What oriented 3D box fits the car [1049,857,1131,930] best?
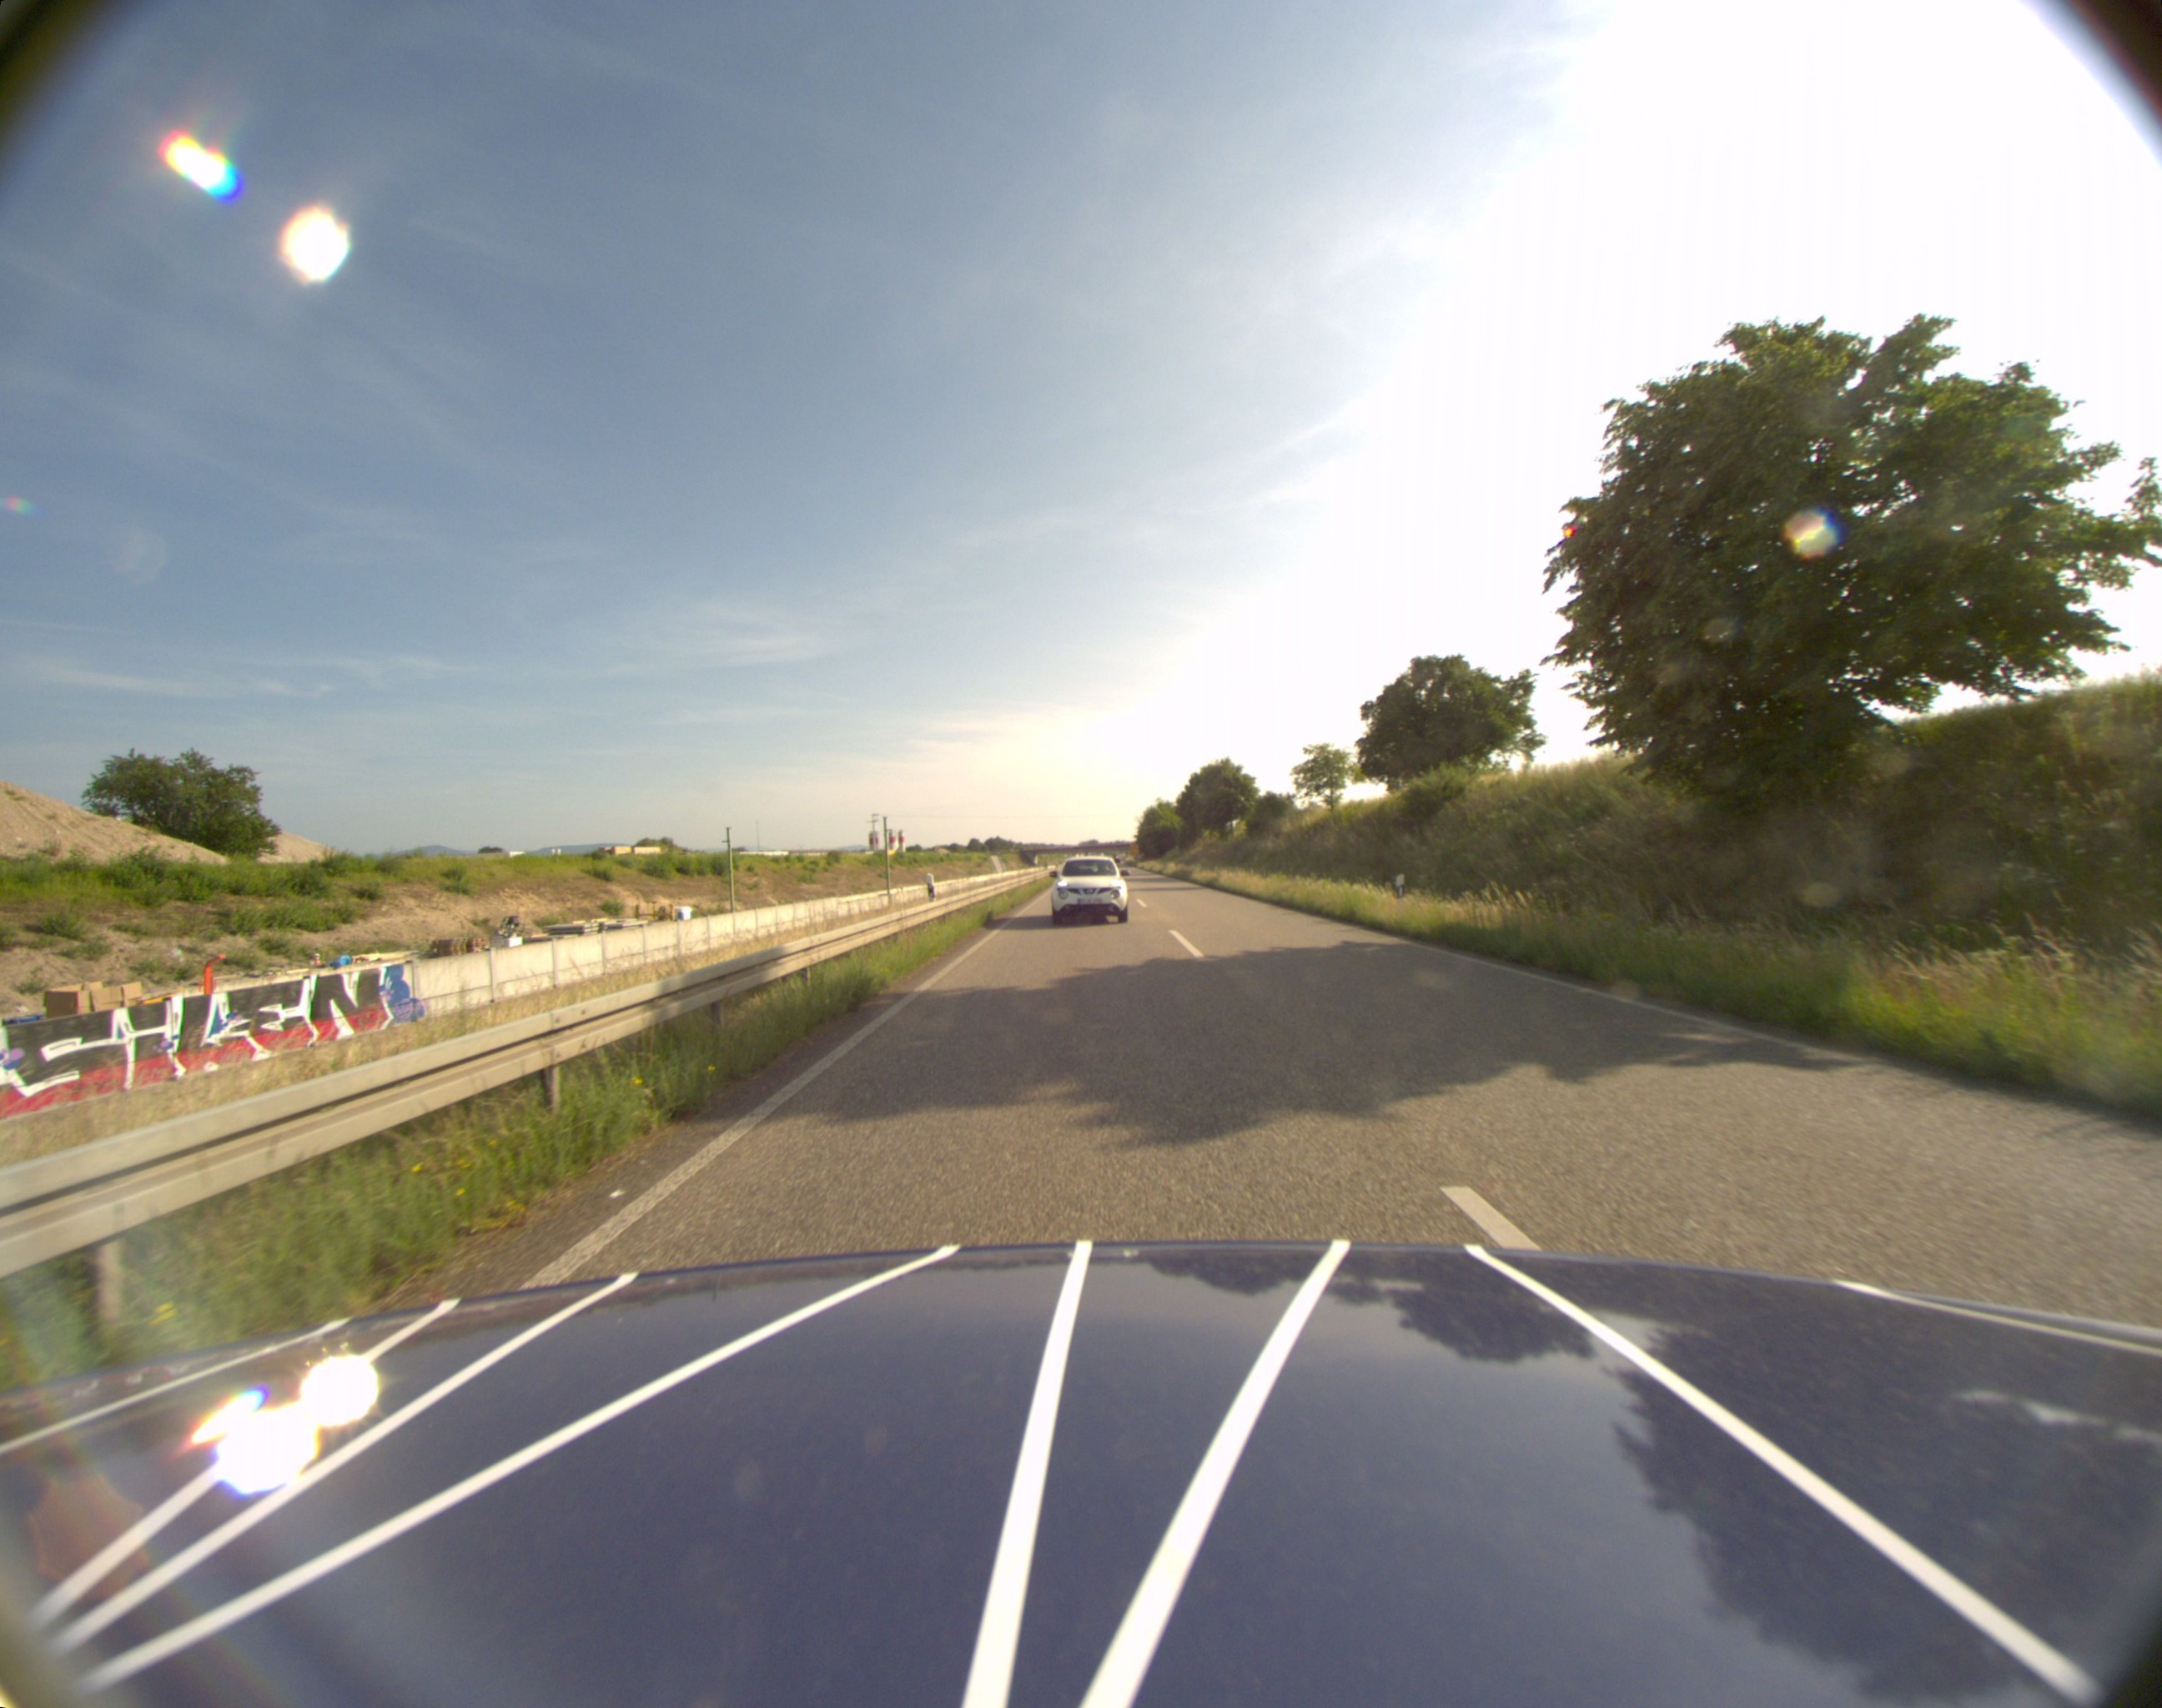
[{"bbox_3d":[0.224,0.892,19.258,1.789,1.593,4.572,-1,0,1],"label":"car"}]

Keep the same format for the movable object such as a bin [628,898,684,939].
[{"bbox_3d":[-29.878,4.502,53.434,2.906,2.646,2.023,-2,0,27],"label":"movable object such as a bin"}]

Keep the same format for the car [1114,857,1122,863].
[{"bbox_3d":[9.463,1.443,192.565,1.747,1.537,4.311,-1,0,-1],"label":"car"}]

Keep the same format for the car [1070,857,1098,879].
[{"bbox_3d":[0.266,0.996,56.435,1.908,1.512,4.466,-2,0,1],"label":"car"}]
